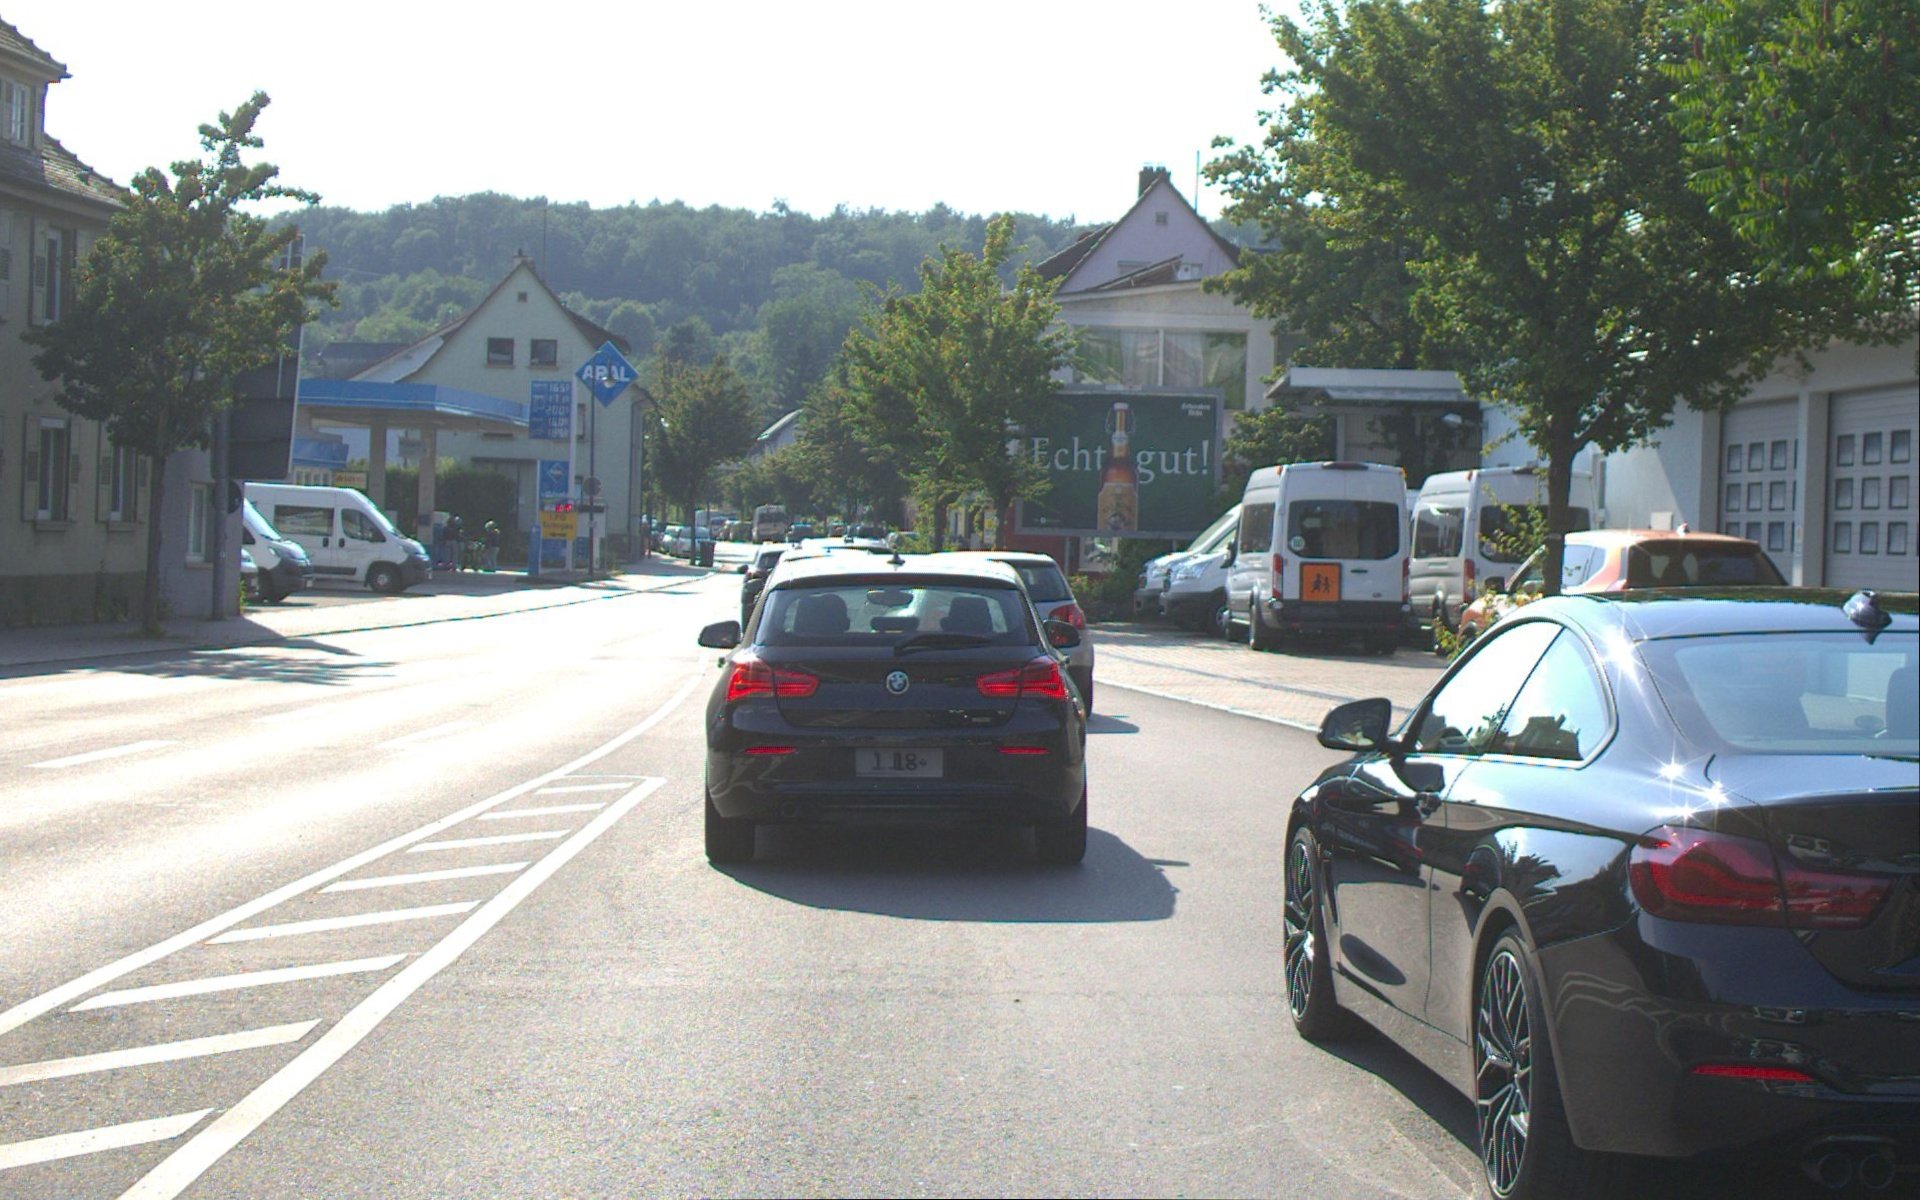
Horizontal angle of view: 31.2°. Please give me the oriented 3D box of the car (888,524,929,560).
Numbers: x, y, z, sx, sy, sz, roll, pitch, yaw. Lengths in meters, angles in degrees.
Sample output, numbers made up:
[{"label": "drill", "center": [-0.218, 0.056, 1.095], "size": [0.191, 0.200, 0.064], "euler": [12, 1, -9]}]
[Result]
[{"label": "car", "center": [-2.226, -2.499, 147.750], "size": [1.596, 1.480, 3.475], "euler": [2, 1, -3]}]

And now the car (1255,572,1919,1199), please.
[{"label": "car", "center": [1.922, 0.659, 8.610], "size": [1.699, 1.364, 4.263], "euler": [0, 2, -4]}]

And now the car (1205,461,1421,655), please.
[{"label": "car", "center": [5.174, -0.678, 51.430], "size": [2.149, 2.671, 6.604], "euler": [1, 2, -3]}]

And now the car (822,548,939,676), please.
[{"label": "car", "center": [-1.149, 0.149, 50.788], "size": [1.603, 1.761, 3.411], "euler": [1, 1, 0]}]

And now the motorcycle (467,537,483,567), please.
[{"label": "motorcycle", "center": [-15.901, -1.571, 112.814], "size": [0.363, 0.940, 1.696], "euler": [1, 1, -3]}]

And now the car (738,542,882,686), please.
[{"label": "car", "center": [-1.766, 0.130, 41.496], "size": [1.591, 1.594, 3.894], "euler": [1, 2, -1]}]

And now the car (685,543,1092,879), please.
[{"label": "car", "center": [-0.336, 0.460, 16.862], "size": [1.771, 1.451, 3.516], "euler": [1, 1, -1]}]

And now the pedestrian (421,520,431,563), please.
[{"label": "pedestrian", "center": [-17.397, -1.912, 111.975], "size": [0.262, 1.378, 0.288], "euler": [1, 1, -17]}]

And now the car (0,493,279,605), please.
[{"label": "car", "center": [-15.975, -1.000, 66.951], "size": [4.976, 1.992, 1.935], "euler": [2, 1, 1]}]

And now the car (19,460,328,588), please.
[{"label": "car", "center": [-16.529, -1.605, 72.427], "size": [5.920, 2.471, 2.194], "euler": [2, 2, 3]}]

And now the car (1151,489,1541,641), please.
[{"label": "car", "center": [6.278, -0.582, 56.343], "size": [6.043, 2.355, 2.044], "euler": [1, 1, -4]}]

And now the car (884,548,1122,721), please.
[{"label": "car", "center": [0.331, 0.273, 31.016], "size": [1.753, 1.409, 3.422], "euler": [1, 2, -6]}]

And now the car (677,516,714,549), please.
[{"label": "car", "center": [-12.332, -3.162, 160.590], "size": [1.596, 1.480, 3.475], "euler": [2, 1, -3]}]

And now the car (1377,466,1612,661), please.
[{"label": "car", "center": [7.928, -0.604, 51.710], "size": [2.111, 2.712, 6.444], "euler": [1, 2, -4]}]

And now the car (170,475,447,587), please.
[{"label": "car", "center": [-15.524, -1.651, 82.210], "size": [6.158, 2.436, 2.250], "euler": [2, 1, -1]}]

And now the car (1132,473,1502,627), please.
[{"label": "car", "center": [6.109, -0.874, 59.292], "size": [6.043, 2.507, 2.044], "euler": [1, 1, -4]}]

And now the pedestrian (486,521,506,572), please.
[{"label": "pedestrian", "center": [-15.265, -1.771, 113.170], "size": [0.610, 1.664, 0.442], "euler": [1, 1, -5]}]

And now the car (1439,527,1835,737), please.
[{"label": "car", "center": [5.683, 0.212, 29.466], "size": [1.834, 1.643, 4.540], "euler": [1, 1, -9]}]
